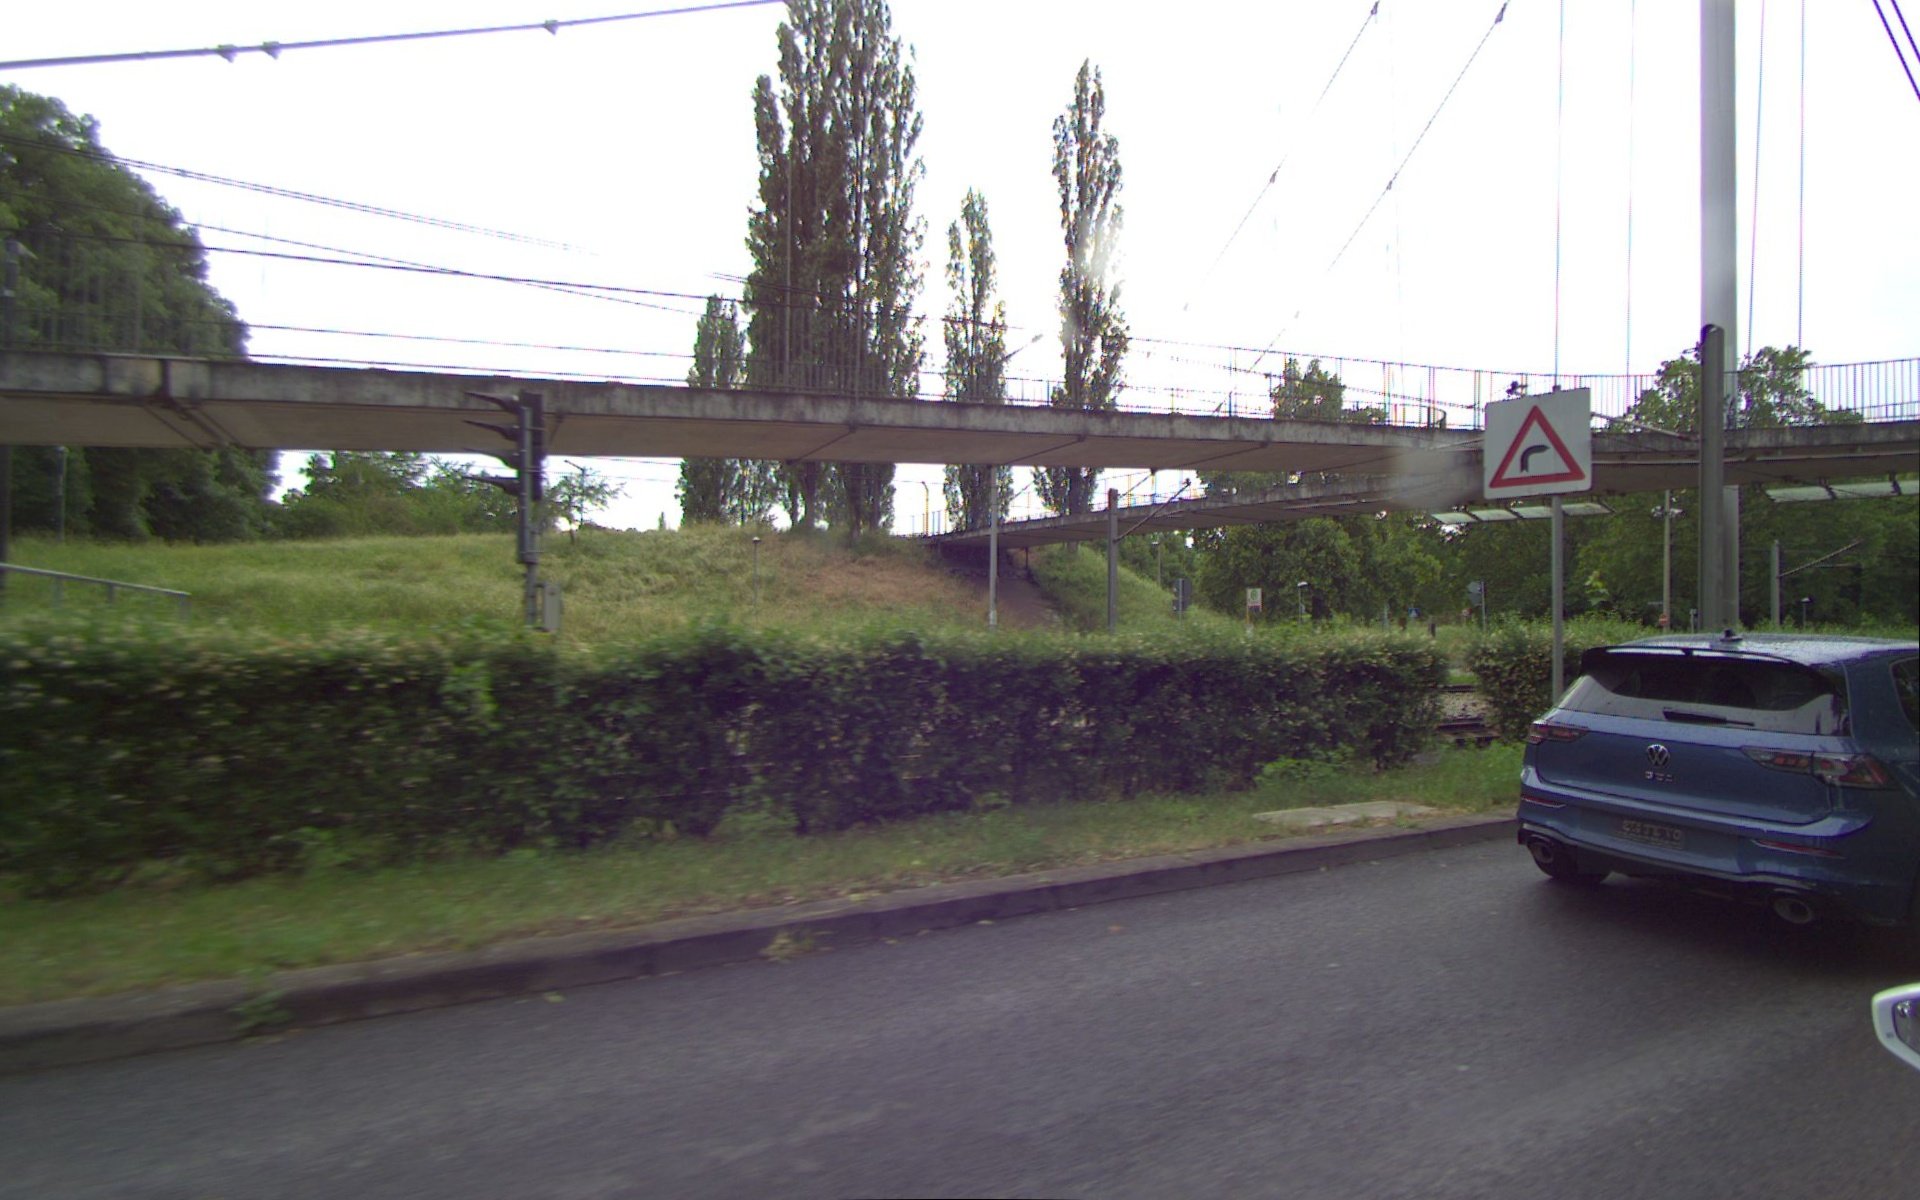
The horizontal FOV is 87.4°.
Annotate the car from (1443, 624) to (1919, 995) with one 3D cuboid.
[{"bbox_3d":[4.959,0.895,5.769,4.294,1.397,1.800,2,0,-29],"label":"car"}]
